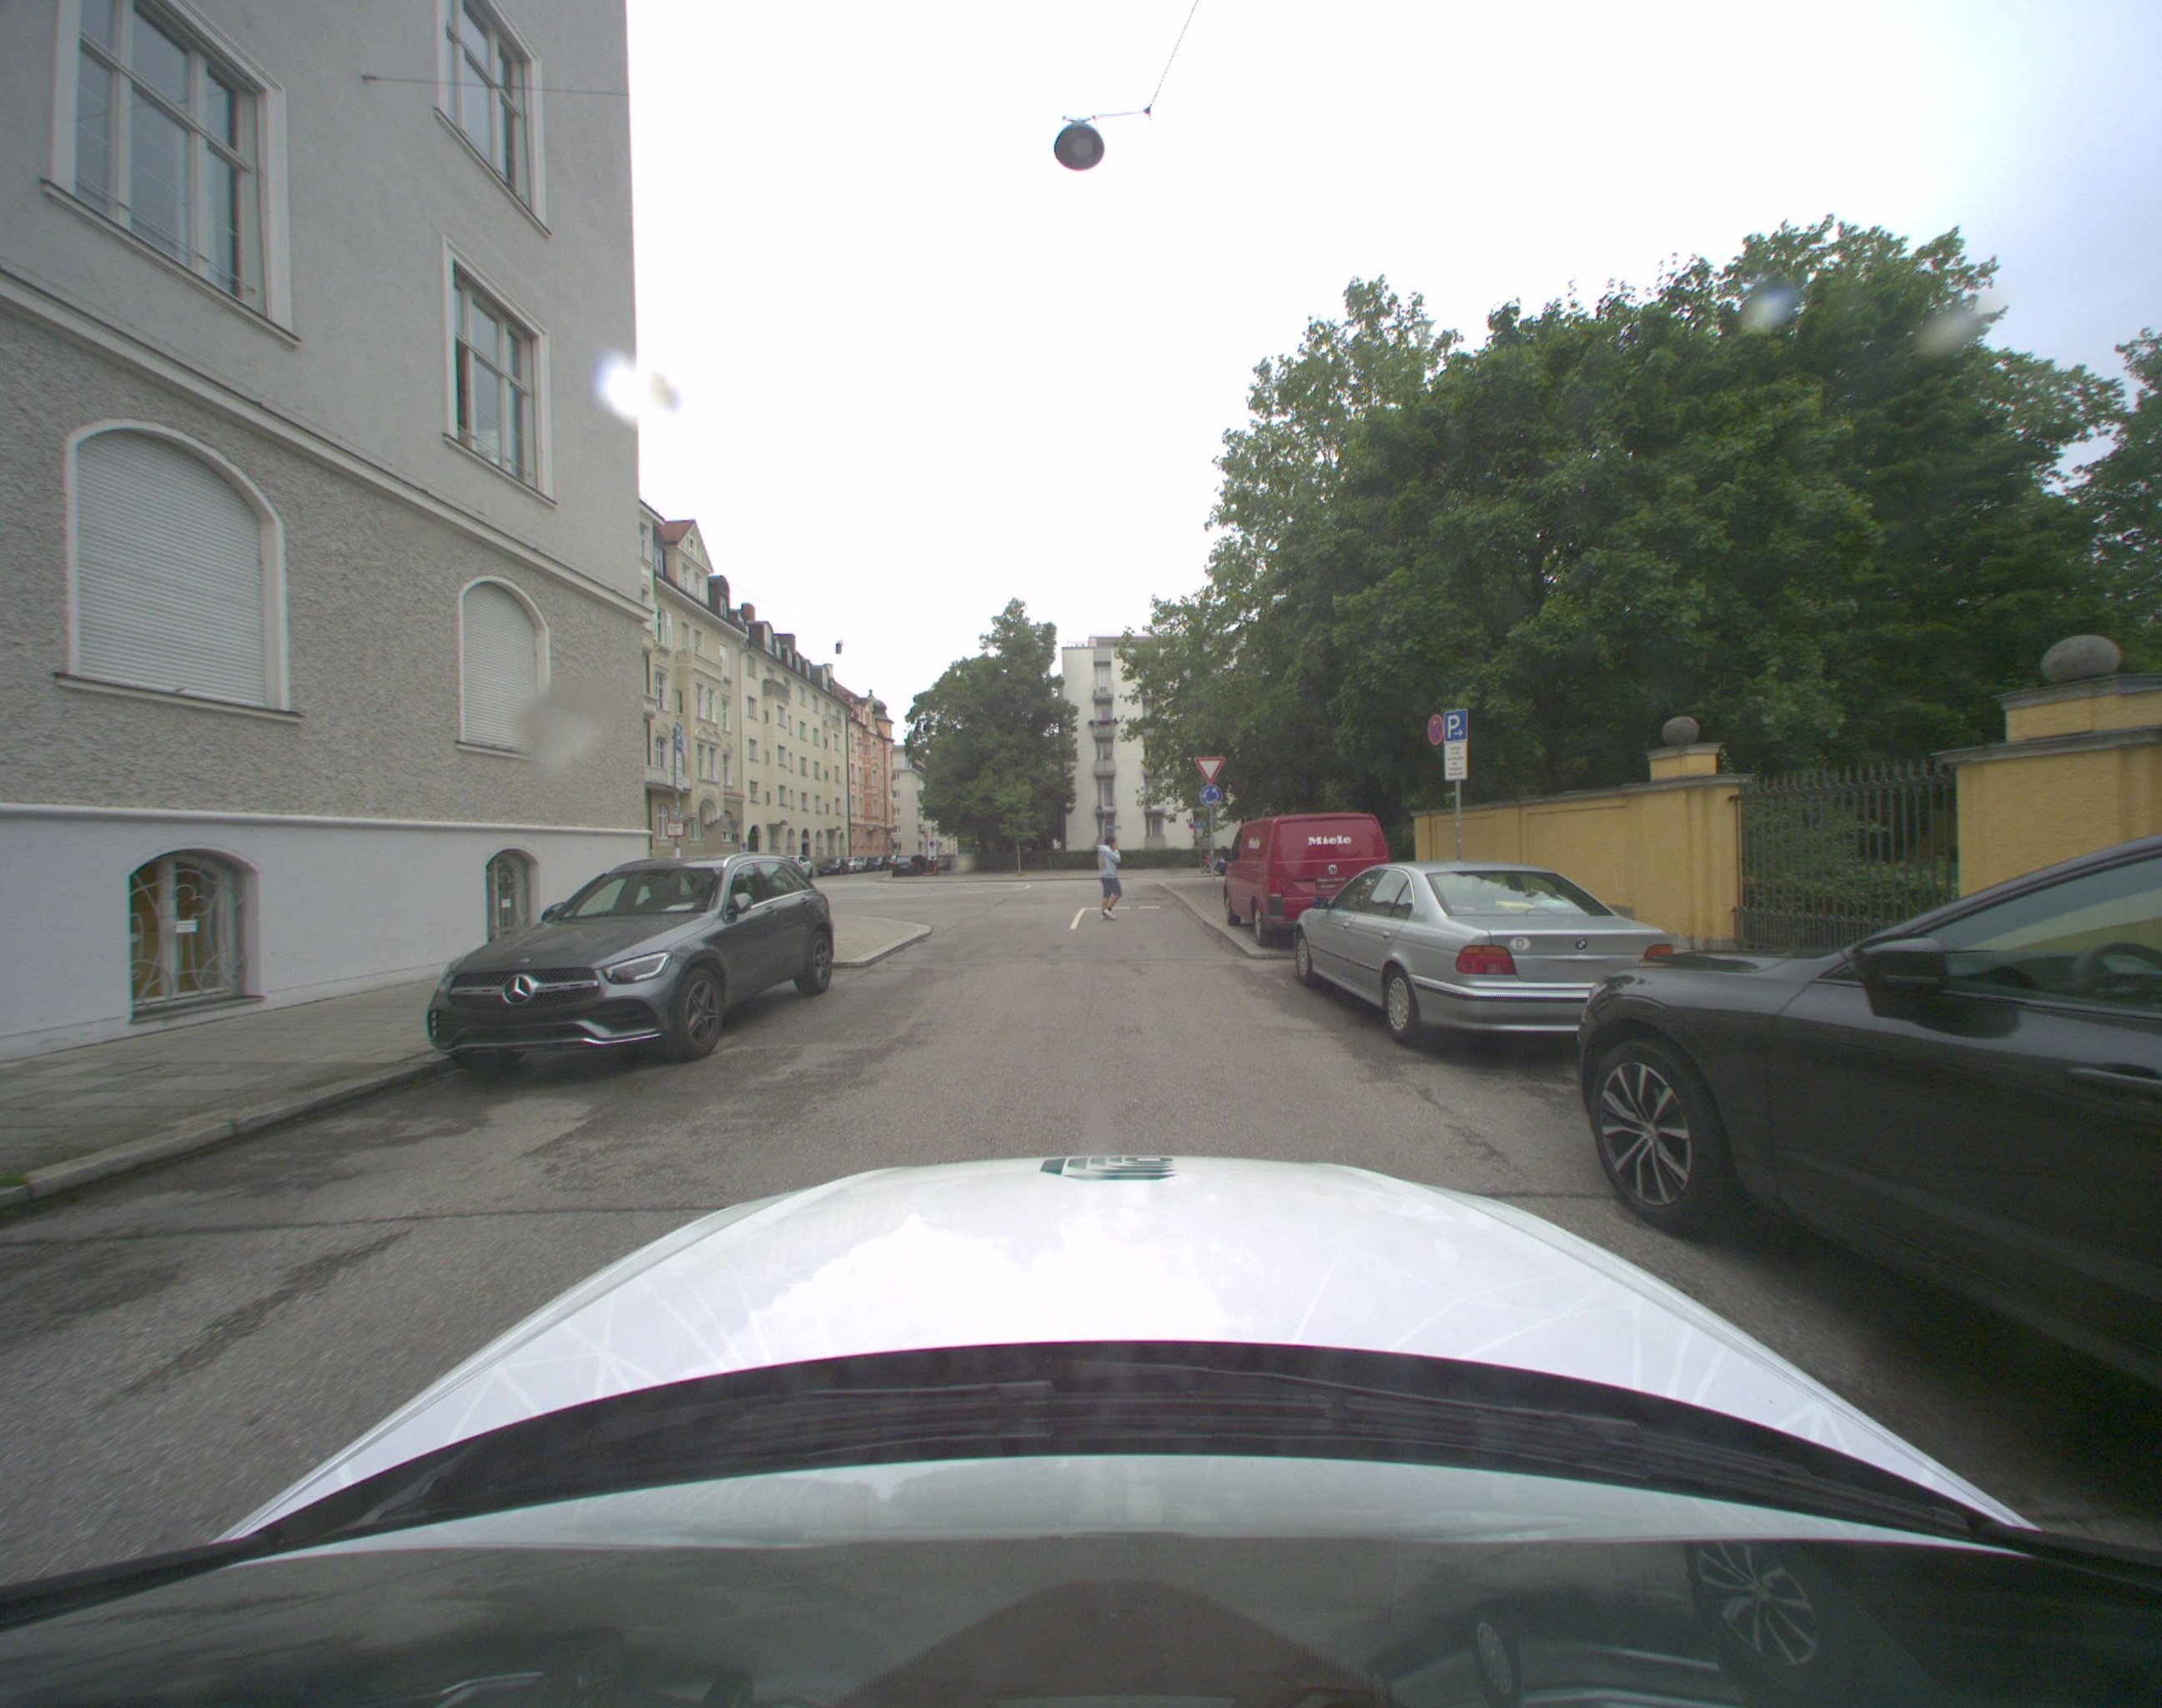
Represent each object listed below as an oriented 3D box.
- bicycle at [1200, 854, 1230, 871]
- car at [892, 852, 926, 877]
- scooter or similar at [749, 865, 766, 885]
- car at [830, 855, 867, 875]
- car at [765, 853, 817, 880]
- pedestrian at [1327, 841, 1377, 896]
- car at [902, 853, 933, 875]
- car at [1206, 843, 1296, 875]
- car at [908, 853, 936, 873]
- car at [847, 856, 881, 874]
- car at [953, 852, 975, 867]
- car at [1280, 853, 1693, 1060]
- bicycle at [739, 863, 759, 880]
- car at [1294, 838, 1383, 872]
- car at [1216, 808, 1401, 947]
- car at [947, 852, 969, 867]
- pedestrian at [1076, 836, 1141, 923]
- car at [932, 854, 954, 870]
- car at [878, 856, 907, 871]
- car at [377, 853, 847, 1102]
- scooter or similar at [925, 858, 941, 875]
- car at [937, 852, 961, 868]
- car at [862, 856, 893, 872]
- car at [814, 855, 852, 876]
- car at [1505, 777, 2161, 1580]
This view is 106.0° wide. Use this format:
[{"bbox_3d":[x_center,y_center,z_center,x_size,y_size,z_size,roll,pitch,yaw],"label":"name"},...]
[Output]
[{"bbox_3d":[8.400,0.536,51.108,1.826,1.049,0.490,-2,0,-13],"label":"bicycle"},{"bbox_3d":[-11.781,0.688,56.056,1.817,1.505,4.413,-3,0,-6],"label":"car"},{"bbox_3d":[-20.166,1.305,50.768,1.200,1.193,0.471,-1,0,38],"label":"scooter or similar"},{"bbox_3d":[-20.334,0.950,71.422,1.969,1.581,4.407,-1,0,0],"label":"car"},{"bbox_3d":[-19.894,0.835,56.103,1.970,1.700,4.837,-1,0,-2],"label":"car"},{"bbox_3d":[6.868,0.357,20.703,1.004,1.338,0.878,-2,0,5],"label":"pedestrian"},{"bbox_3d":[-12.271,0.702,61.288,1.791,1.505,4.225,-3,0,-6],"label":"car"},{"bbox_3d":[10.120,0.289,48.720,4.891,1.792,1.996,-1,-1,-6],"label":"car"},{"bbox_3d":[-12.826,0.722,65.839,1.791,1.505,4.106,-3,0,-6],"label":"car"},{"bbox_3d":[-20.380,0.965,76.589,1.969,1.581,4.408,-1,0,0],"label":"car"},{"bbox_3d":[-13.923,0.616,97.006,1.828,1.634,3.821,-3,0,1],"label":"car"},{"bbox_3d":[3.444,0.734,8.011,1.878,1.448,4.367,0,0,-1],"label":"car"},{"bbox_3d":[-21.811,1.134,53.560,0.561,1.049,1.829,-2,0,-2],"label":"bicycle"},{"bbox_3d":[15.602,0.050,49.480,4.828,1.918,1.831,-1,-1,-7],"label":"car"},{"bbox_3d":[3.561,0.316,13.746,1.867,1.920,4.889,0,0,1],"label":"car"},{"bbox_3d":[-14.006,0.597,92.961,1.828,1.634,3.821,-3,0,1],"label":"car"},{"bbox_3d":[0.590,0.520,17.431,1.055,1.771,0.868,-1,0,-31],"label":"pedestrian"},{"bbox_3d":[-13.981,0.786,82.683,1.832,1.505,4.109,-3,0,-4],"label":"car"},{"bbox_3d":[-20.453,0.992,88.509,1.969,1.581,4.408,-1,0,0],"label":"car"},{"bbox_3d":[-3.844,0.837,7.801,1.740,1.602,4.498,-3,0,1],"label":"car"},{"bbox_3d":[-9.698,0.798,53.384,1.005,1.088,0.387,-1,0,-29],"label":"scooter or similar"},{"bbox_3d":[-14.080,0.637,87.293,1.829,1.634,4.114,-3,0,0],"label":"car"},{"bbox_3d":[-20.373,0.977,81.590,1.969,1.581,4.408,-1,0,0],"label":"car"},{"bbox_3d":[-20.195,0.918,66.542,1.972,1.616,4.705,-1,0,-5],"label":"car"},{"bbox_3d":[3.171,0.672,1.915,1.878,1.653,4.824,0,0,0],"label":"car"}]
